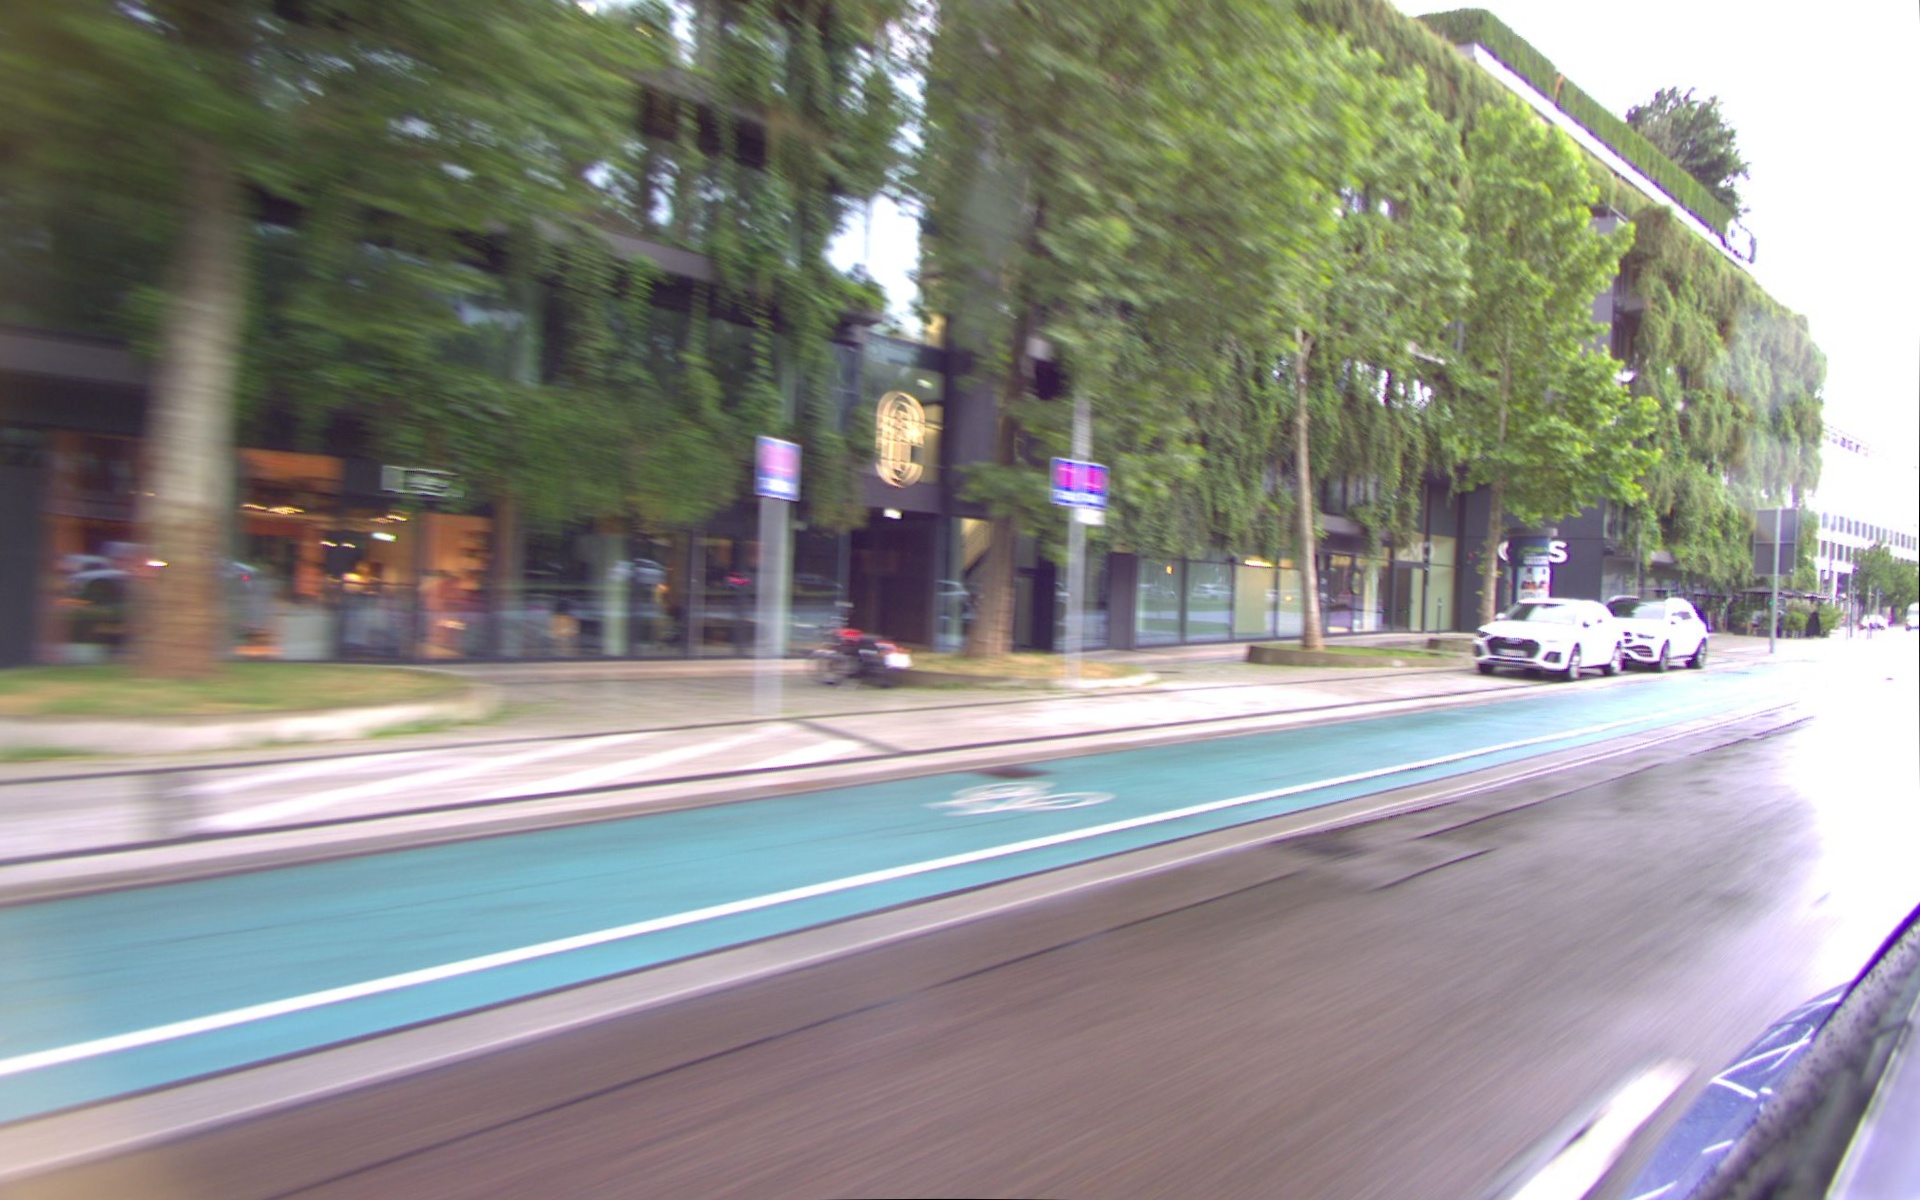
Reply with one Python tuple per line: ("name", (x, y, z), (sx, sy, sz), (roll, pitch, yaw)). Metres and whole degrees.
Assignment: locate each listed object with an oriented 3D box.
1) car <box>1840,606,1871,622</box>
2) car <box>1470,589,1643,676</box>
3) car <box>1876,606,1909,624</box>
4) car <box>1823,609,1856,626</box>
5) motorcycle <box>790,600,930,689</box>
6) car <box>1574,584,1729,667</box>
("car", (92.048, 1.445, 103.968), (4.588, 1.572, 1.738), (1, 1, -41))
("car", (13.011, 0.662, 21.949), (4.702, 1.653, 1.847), (1, 0, -41))
("car", (87.447, 1.395, 94.894), (4.588, 1.572, 1.738), (1, 1, -41))
("car", (83.407, 1.659, 95.968), (4.588, 1.572, 1.738), (1, 1, -41))
("motorcycle", (-1.599, 0.649, 15.843), (1.034, 1.286, 2.311), (2, -1, -41))
("car", (17.609, 0.622, 25.687), (5.001, 1.861, 1.848), (1, 1, -39))
